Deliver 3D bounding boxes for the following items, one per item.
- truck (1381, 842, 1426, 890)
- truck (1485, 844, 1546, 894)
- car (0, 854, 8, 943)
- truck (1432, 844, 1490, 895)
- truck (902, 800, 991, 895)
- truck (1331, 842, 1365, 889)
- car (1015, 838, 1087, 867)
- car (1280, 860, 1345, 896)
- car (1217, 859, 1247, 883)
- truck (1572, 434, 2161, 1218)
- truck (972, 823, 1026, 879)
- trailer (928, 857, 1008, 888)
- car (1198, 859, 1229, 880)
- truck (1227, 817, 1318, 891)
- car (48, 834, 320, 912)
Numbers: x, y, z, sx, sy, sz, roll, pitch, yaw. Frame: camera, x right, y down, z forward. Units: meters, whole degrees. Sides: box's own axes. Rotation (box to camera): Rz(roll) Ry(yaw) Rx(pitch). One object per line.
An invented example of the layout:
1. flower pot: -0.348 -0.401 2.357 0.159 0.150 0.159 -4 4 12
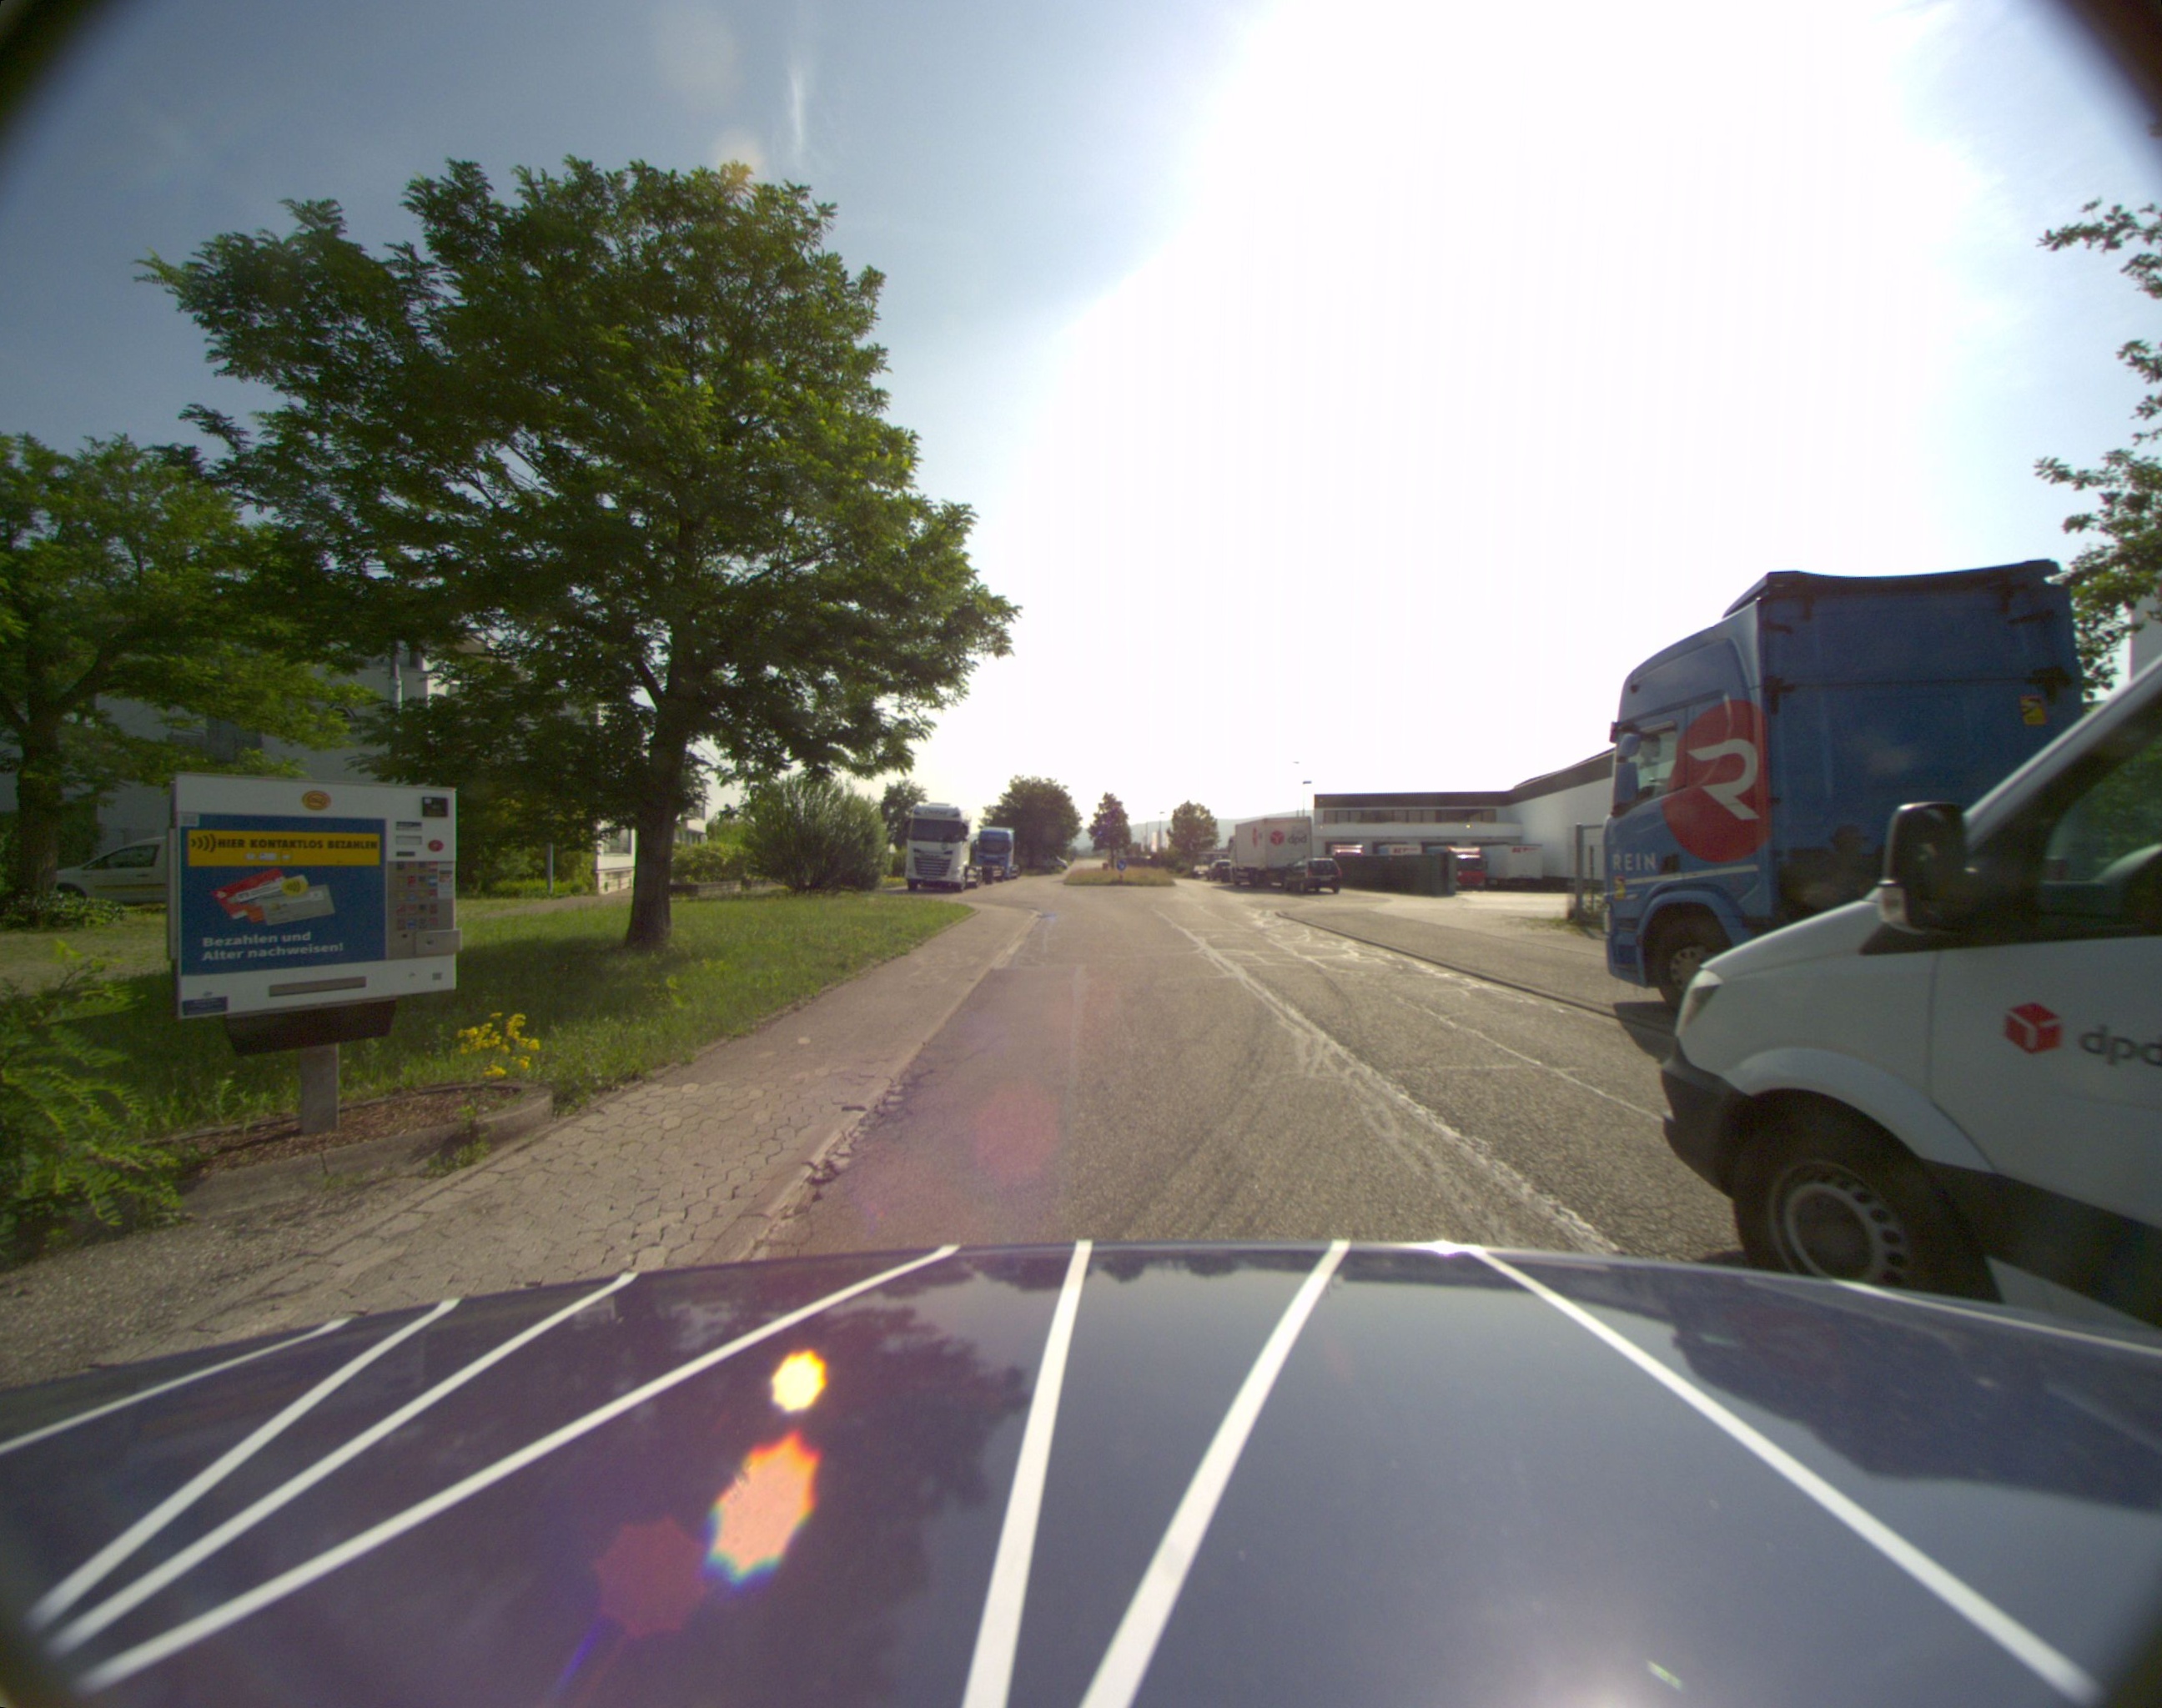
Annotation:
1. truck: 29.568 1.051 69.989 3.034 4.112 9.253 1 0 19
2. truck: 38.253 1.247 67.221 2.903 4.032 9.253 2 0 19
3. car: -18.696 0.721 10.576 4.045 1.397 1.739 0 1 -20
4. truck: 33.258 1.287 66.949 2.784 4.021 12.372 2 0 19
5. truck: -6.253 -0.302 36.808 2.559 3.958 8.581 3 0 0
6. truck: 24.220 1.001 69.174 2.653 3.955 9.253 2 0 19
7. car: -3.533 -0.132 88.084 8.151 3.217 2.663 -1 0 -5
8. car: 11.040 1.110 36.503 1.767 1.583 4.193 -1 0 -1
9. car: 10.679 1.155 53.839 1.441 1.598 3.167 1 0 0
10. truck: 6.681 -0.143 3.520 2.720 3.862 9.635 0 0 1
11. truck: -6.179 -0.205 58.978 3.044 3.916 10.577 1 0 -1
12. trailer: -6.272 0.932 44.666 2.553 1.383 14.135 1 0 0
13. car: 10.491 1.177 60.319 1.735 1.573 3.967 -1 0 0
14. truck: 11.063 0.003 45.092 2.784 3.831 10.062 -2 0 0
15. car: -21.443 0.454 18.386 3.917 1.740 1.750 1 0 -18
